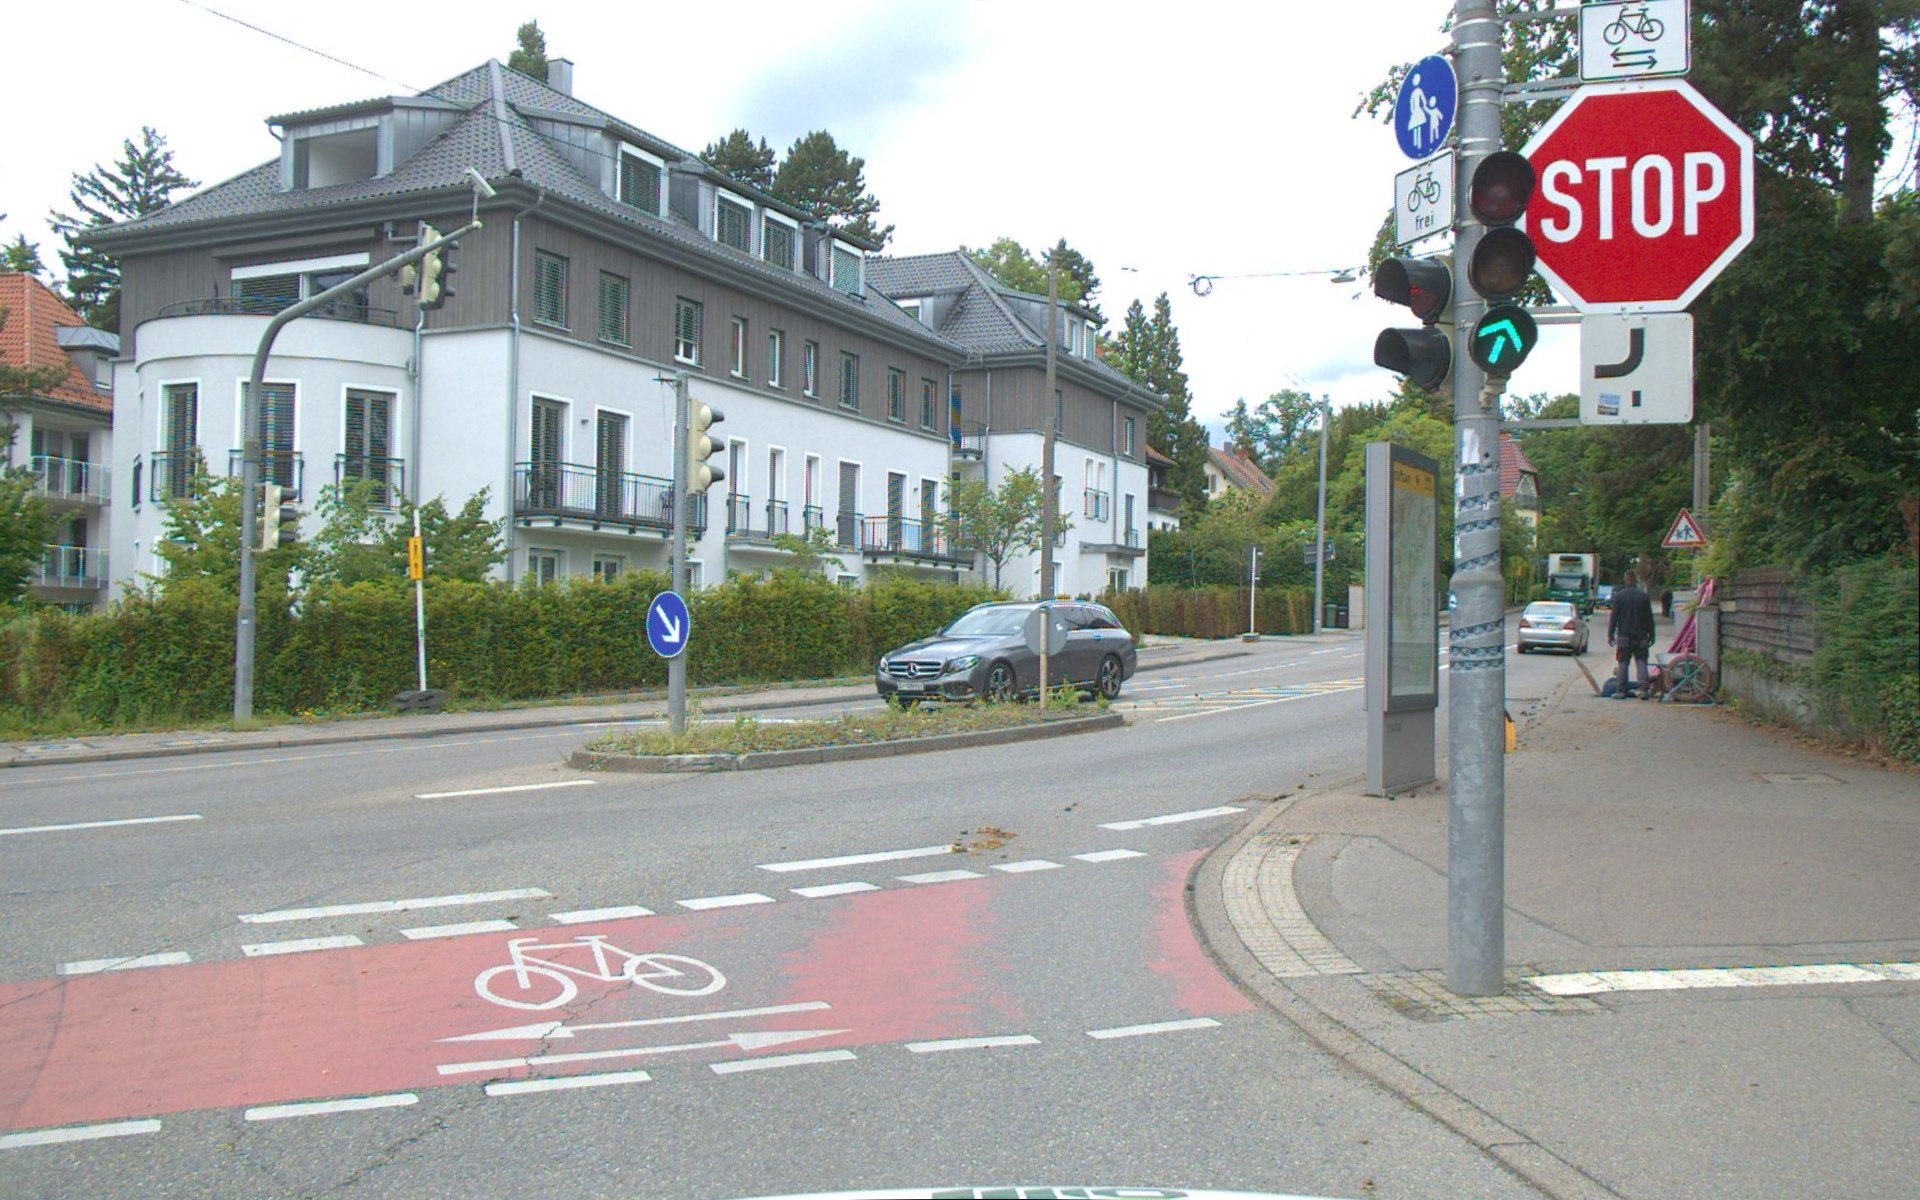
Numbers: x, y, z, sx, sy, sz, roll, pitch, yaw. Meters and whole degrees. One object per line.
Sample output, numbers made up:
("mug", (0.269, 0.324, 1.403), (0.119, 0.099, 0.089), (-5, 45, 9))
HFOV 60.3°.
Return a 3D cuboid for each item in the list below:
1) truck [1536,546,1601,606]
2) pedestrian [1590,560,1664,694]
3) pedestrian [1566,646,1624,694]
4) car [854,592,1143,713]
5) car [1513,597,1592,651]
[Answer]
("truck", (37.271, -1.401, 101.497), (2.718, 3.522, 7.500), (0, -1, 12))
("pedestrian", (9.932, 0.389, 24.652), (0.828, 1.957, 0.802), (0, 0, 4))
("pedestrian", (9.910, 1.082, 25.821), (0.634, 0.709, 0.582), (0, 0, -17))
("car", (0.674, 0.683, 23.848), (1.795, 1.511, 4.729), (-1, 0, 36))
("car", (16.694, 0.672, 46.525), (1.761, 1.440, 4.333), (0, -1, 24))
